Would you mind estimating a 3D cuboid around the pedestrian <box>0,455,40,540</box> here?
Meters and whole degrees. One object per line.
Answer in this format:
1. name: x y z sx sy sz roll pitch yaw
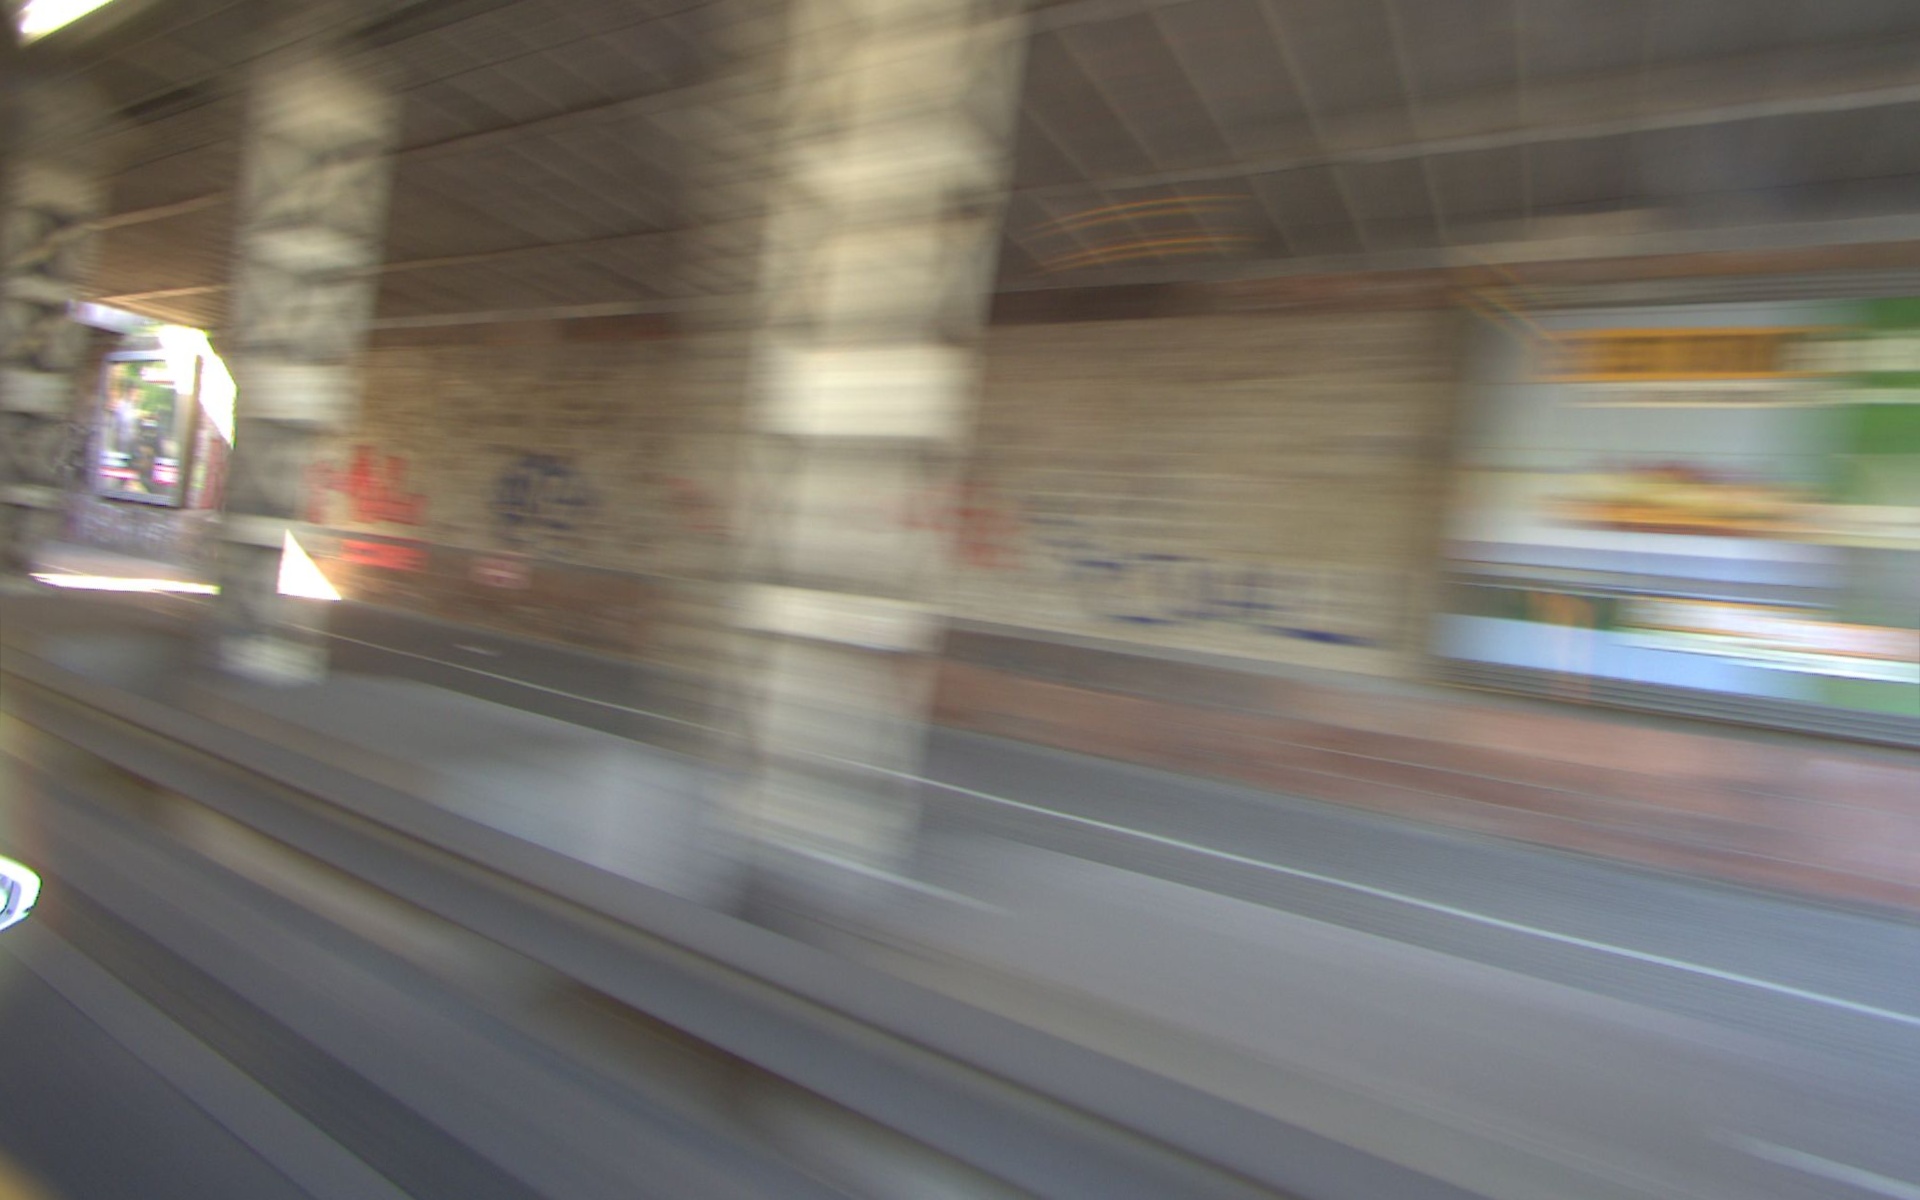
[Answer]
1. pedestrian: -19.604 -2.122 20.541 0.871 1.679 0.917 8 4 28
